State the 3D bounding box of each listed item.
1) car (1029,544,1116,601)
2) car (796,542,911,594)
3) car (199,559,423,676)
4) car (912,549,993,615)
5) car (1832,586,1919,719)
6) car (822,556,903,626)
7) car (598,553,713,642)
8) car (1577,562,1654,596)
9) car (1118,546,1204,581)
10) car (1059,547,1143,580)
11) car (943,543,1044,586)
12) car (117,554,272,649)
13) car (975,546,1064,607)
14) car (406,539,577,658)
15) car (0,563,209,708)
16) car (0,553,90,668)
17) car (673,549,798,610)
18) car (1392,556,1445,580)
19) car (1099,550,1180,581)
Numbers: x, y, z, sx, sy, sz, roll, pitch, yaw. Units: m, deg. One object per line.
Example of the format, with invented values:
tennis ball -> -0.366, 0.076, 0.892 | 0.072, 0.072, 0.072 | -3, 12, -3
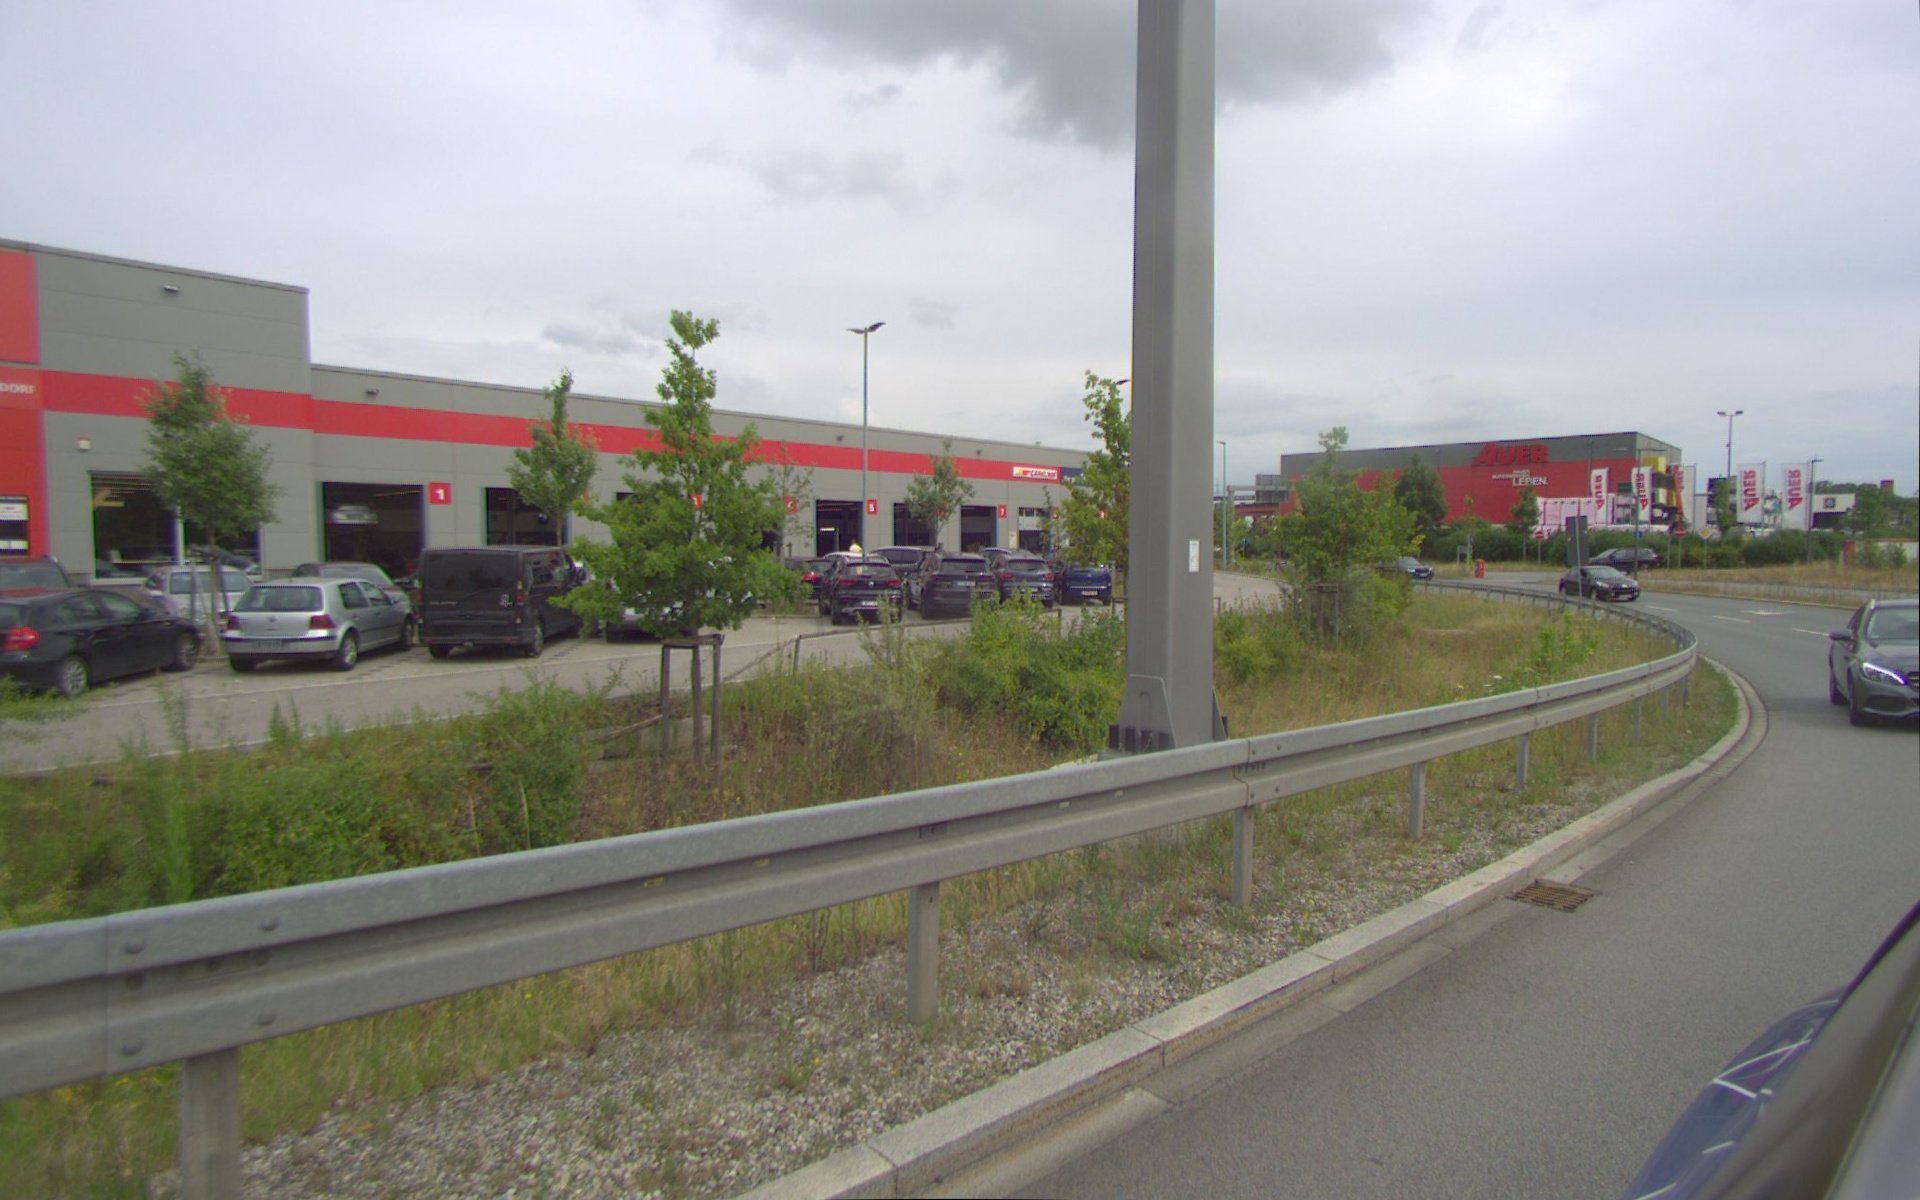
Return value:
car -> 3.608, -0.952, 33.277 | 1.701, 1.641, 4.087 | 1, 4, -10
car -> -3.486, -1.023, 32.828 | 3.682, 1.564, 1.568 | 0, 2, 40
car -> -10.816, 0.189, 17.244 | 1.734, 1.598, 4.087 | 0, 4, -9
car -> -0.276, -0.510, 27.774 | 1.701, 1.642, 4.083 | 1, 1, -8
car -> 11.920, 0.560, 12.276 | 1.756, 1.438, 4.035 | -1, -1, 37
car -> -2.585, -0.274, 26.140 | 1.616, 1.642, 4.086 | 1, 1, -12
car -> -6.464, -0.133, 21.893 | 1.866, 1.732, 4.085 | 0, 2, -9
car -> 28.316, -0.926, 43.840 | 1.741, 1.334, 3.939 | -1, 2, 17
car -> 9.437, -1.716, 47.673 | 3.682, 1.564, 1.568 | 0, 2, 40
car -> 6.033, -1.544, 43.418 | 3.307, 1.340, 1.460 | 0, 2, 40
car -> 1.269, -1.354, 38.898 | 3.682, 1.564, 1.568 | 0, 2, 40
car -> -14.882, -0.002, 19.621 | 3.682, 1.658, 1.568 | 0, 2, 40
car -> 1.750, -0.772, 31.323 | 1.791, 1.641, 4.087 | 1, 4, -10
car -> -8.627, -0.140, 19.032 | 1.867, 1.930, 4.087 | 1, 4, -9
car -> -12.728, 0.373, 14.331 | 1.734, 1.598, 4.088 | 0, 4, -11
car -> -17.024, 0.158, 18.069 | 4.181, 1.859, 1.568 | 0, 2, 40
car -> -6.494, -0.584, 29.149 | 3.682, 1.658, 1.568 | 0, 2, 40
car -> 29.875, -2.133, 66.068 | 1.829, 1.429, 4.552 | -1, 3, 6
car -> 8.064, -1.549, 45.552 | 3.308, 1.339, 1.460 | 2, 3, 40
